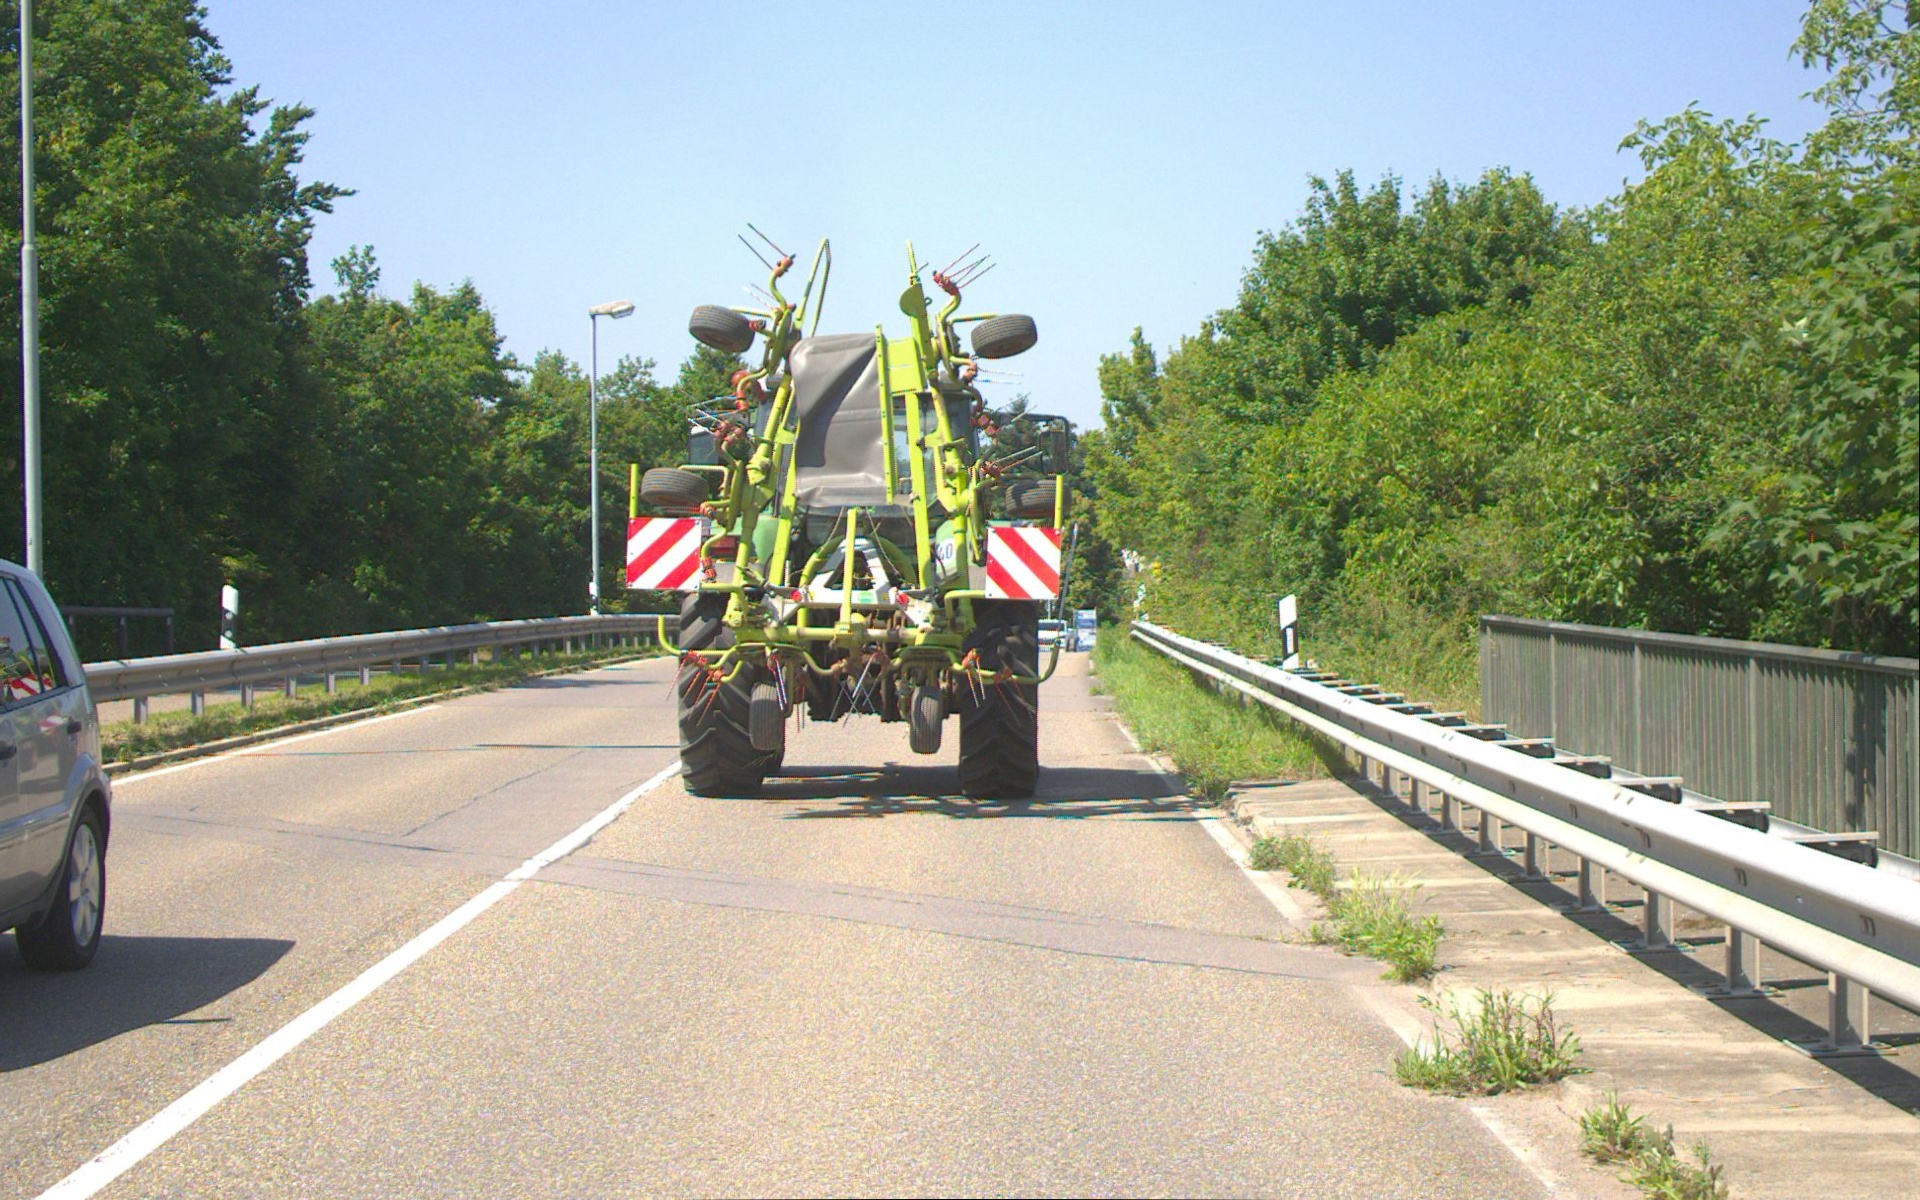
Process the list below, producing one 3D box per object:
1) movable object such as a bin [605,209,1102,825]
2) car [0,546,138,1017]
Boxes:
[{"bbox_3d":[-0.699,-0.511,22.105,2.755,3.432,5.670,0,1,-2],"label":"movable object such as a bin"},{"bbox_3d":[-3.915,0.578,11.049,1.667,1.512,3.666,0,0,0],"label":"car"}]
